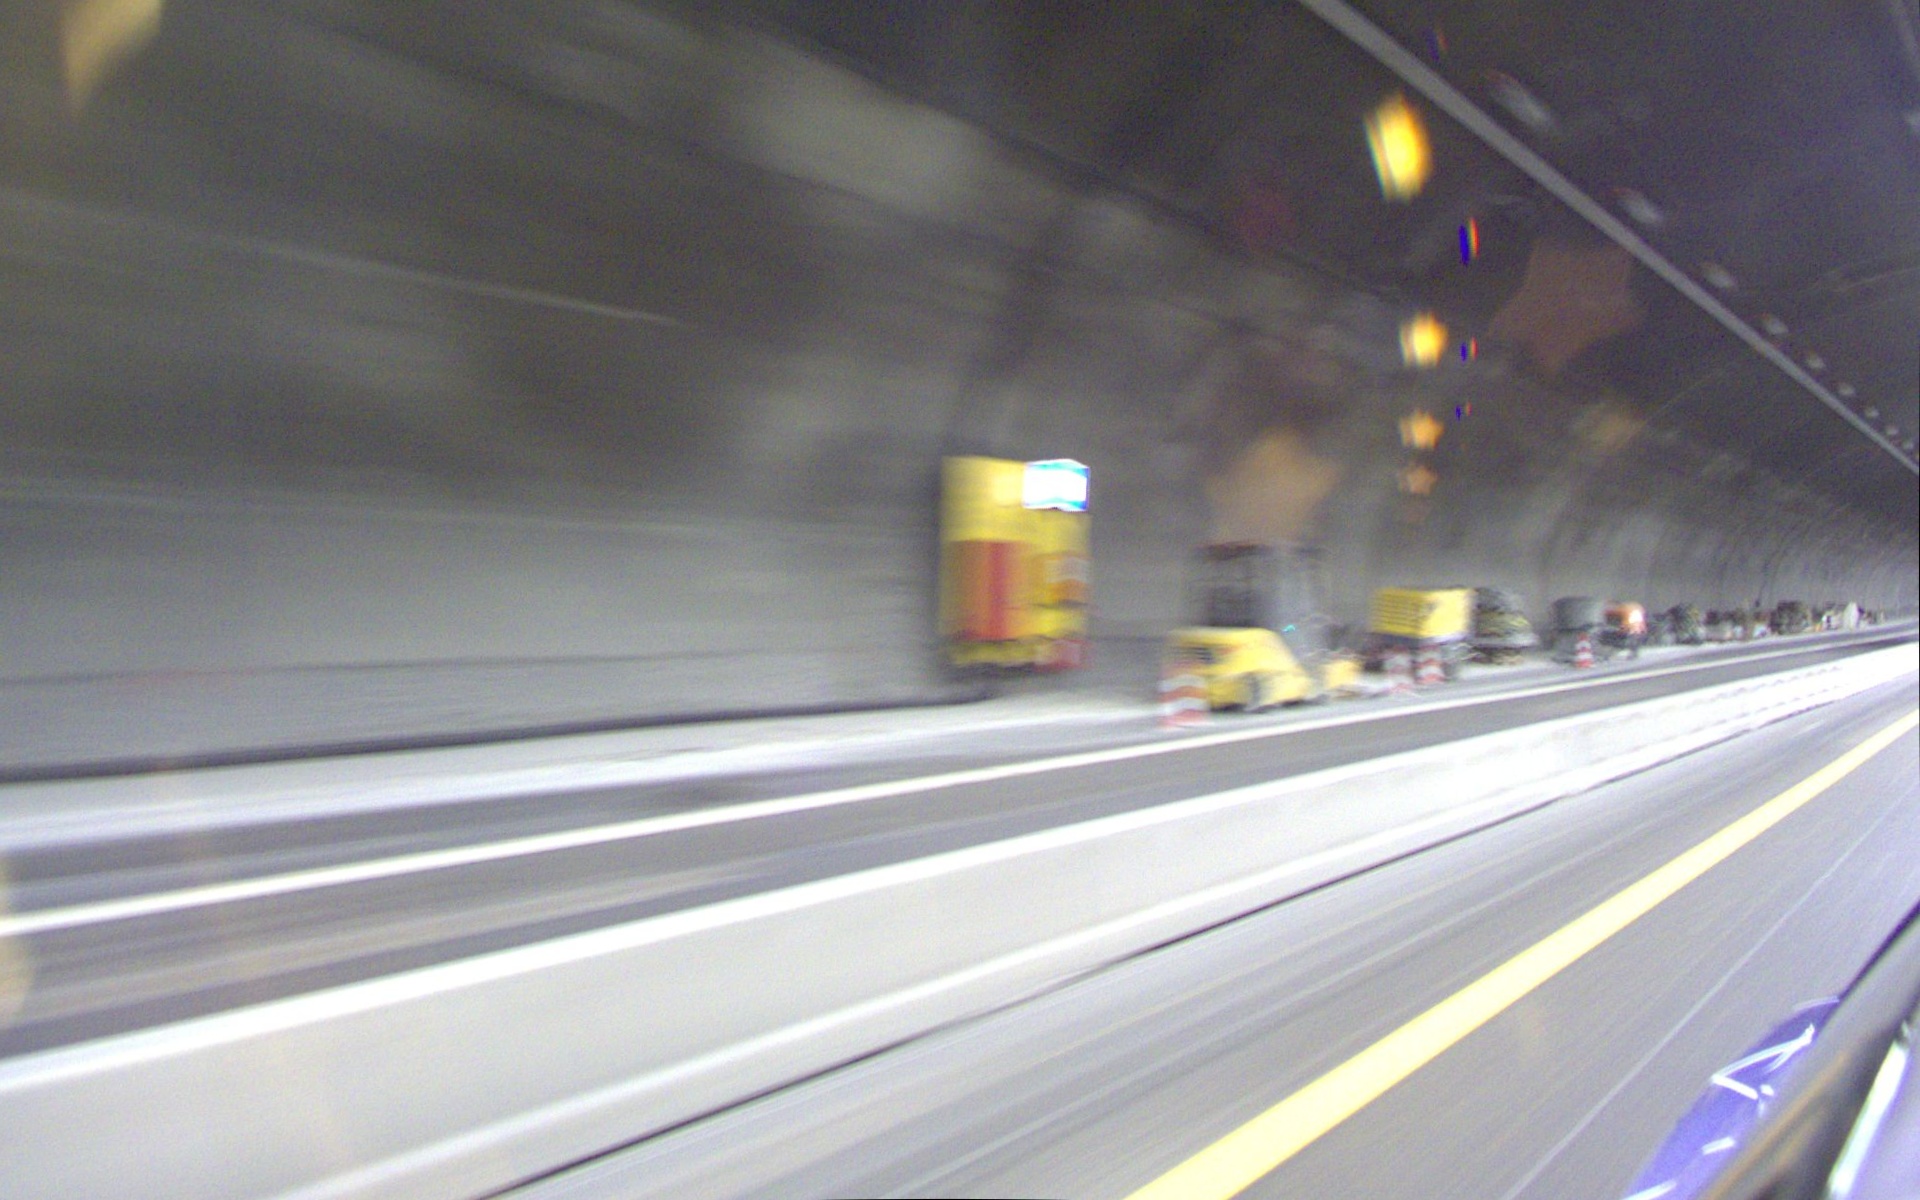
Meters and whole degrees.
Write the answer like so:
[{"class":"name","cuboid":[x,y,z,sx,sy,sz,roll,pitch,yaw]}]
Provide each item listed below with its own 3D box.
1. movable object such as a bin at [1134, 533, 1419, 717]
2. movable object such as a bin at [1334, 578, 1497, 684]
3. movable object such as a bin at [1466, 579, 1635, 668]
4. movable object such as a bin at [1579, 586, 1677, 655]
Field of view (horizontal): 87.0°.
[{"class":"movable object such as a bin","cuboid":[4.539,0.277,14.133,4.548,2.173,1.686,-1,0,-41]},{"class":"movable object such as a bin","cuboid":[8.214,0.493,18.177,3.002,1.730,1.558,-1,0,-41]},{"class":"movable object such as a bin","cuboid":[13.161,0.475,22.457,4.423,1.695,1.864,0,3,-41]},{"class":"movable object such as a bin","cuboid":[17.350,0.508,26.266,3.002,1.613,1.306,0,3,-41]}]
